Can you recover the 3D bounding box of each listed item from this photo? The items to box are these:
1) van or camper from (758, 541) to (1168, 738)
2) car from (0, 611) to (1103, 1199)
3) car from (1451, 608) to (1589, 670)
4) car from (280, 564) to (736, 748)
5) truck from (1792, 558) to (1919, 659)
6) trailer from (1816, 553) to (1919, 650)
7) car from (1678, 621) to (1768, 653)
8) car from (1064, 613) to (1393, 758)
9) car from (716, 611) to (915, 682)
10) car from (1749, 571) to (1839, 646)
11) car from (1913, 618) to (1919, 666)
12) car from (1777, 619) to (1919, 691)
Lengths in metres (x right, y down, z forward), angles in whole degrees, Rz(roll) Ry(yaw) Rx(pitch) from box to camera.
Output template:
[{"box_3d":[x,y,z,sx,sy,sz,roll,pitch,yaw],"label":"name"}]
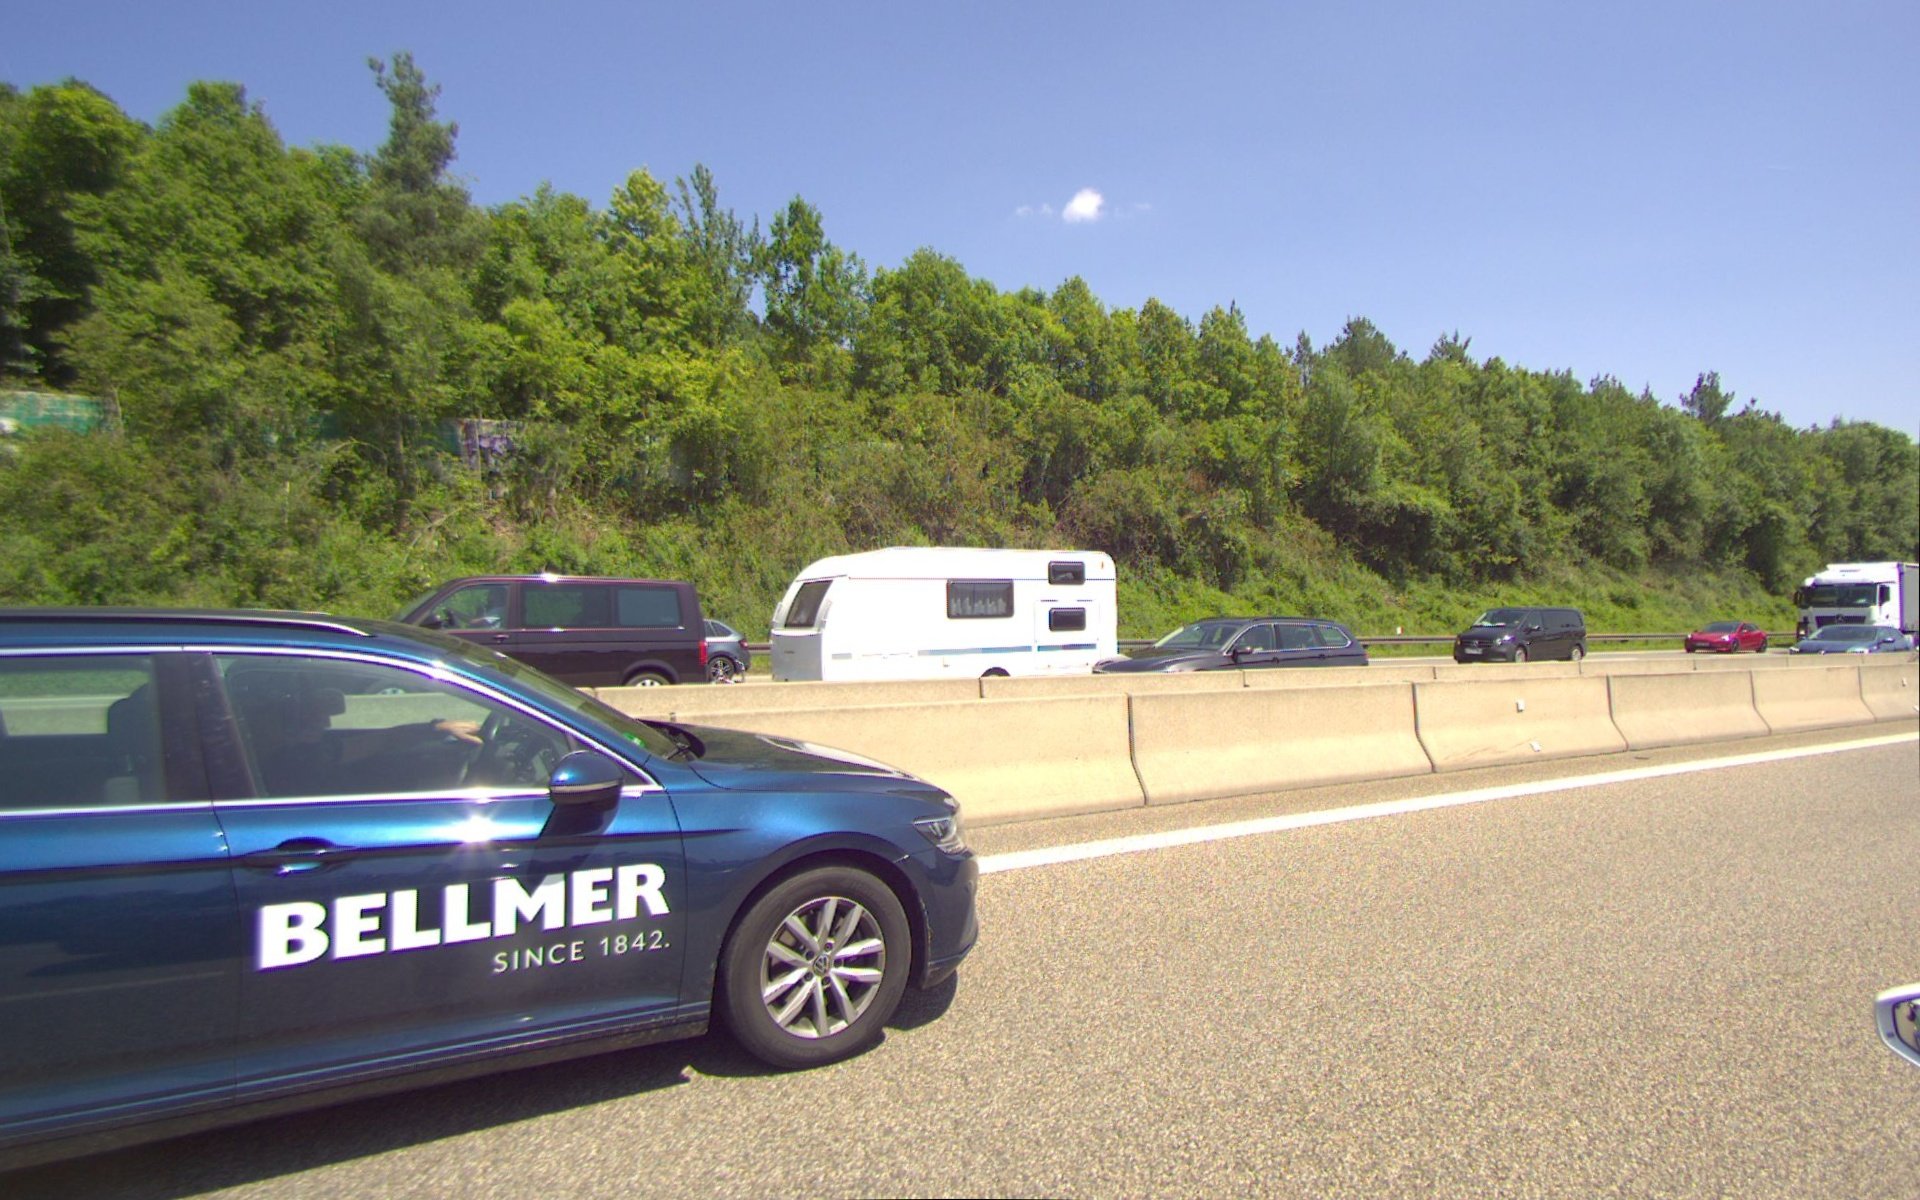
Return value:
[{"box_3d":[0.206,0.629,16.966,6.756,2.797,2.220,1,-1,-30],"label":"van or camper"},{"box_3d":[-1.918,0.771,3.243,4.674,1.446,1.724,1,-1,-30],"label":"car"},{"box_3d":[17.546,1.193,31.406,4.811,1.833,1.724,1,-1,-33],"label":"car"},{"box_3d":[-5.789,0.710,13.310,5.132,2.040,1.984,2,-2,-30],"label":"car"},{"box_3d":[40.406,0.396,45.182,5.594,4.270,2.827,1,0,-31],"label":"truck"},{"box_3d":[46.275,0.298,48.577,14.567,4.220,2.822,2,-2,-31],"label":"trailer"},{"box_3d":[34.796,1.670,45.782,4.449,1.388,1.754,1,-1,-31],"label":"car"},{"box_3d":[3.963,1.157,14.616,4.639,1.825,1.938,2,-2,-30],"label":"car"},{"box_3d":[-3.273,1.034,23.060,4.244,1.504,1.590,1,-1,-30],"label":"car"},{"box_3d":[45.445,0.492,54.734,4.513,3.925,2.437,1,-1,-31],"label":"car"},{"box_3d":[42.165,1.807,42.176,4.695,1.975,1.983,2,-2,-32],"label":"car"},{"box_3d":[24.001,1.434,27.063,4.135,1.795,1.764,1,-1,-30],"label":"car"}]
